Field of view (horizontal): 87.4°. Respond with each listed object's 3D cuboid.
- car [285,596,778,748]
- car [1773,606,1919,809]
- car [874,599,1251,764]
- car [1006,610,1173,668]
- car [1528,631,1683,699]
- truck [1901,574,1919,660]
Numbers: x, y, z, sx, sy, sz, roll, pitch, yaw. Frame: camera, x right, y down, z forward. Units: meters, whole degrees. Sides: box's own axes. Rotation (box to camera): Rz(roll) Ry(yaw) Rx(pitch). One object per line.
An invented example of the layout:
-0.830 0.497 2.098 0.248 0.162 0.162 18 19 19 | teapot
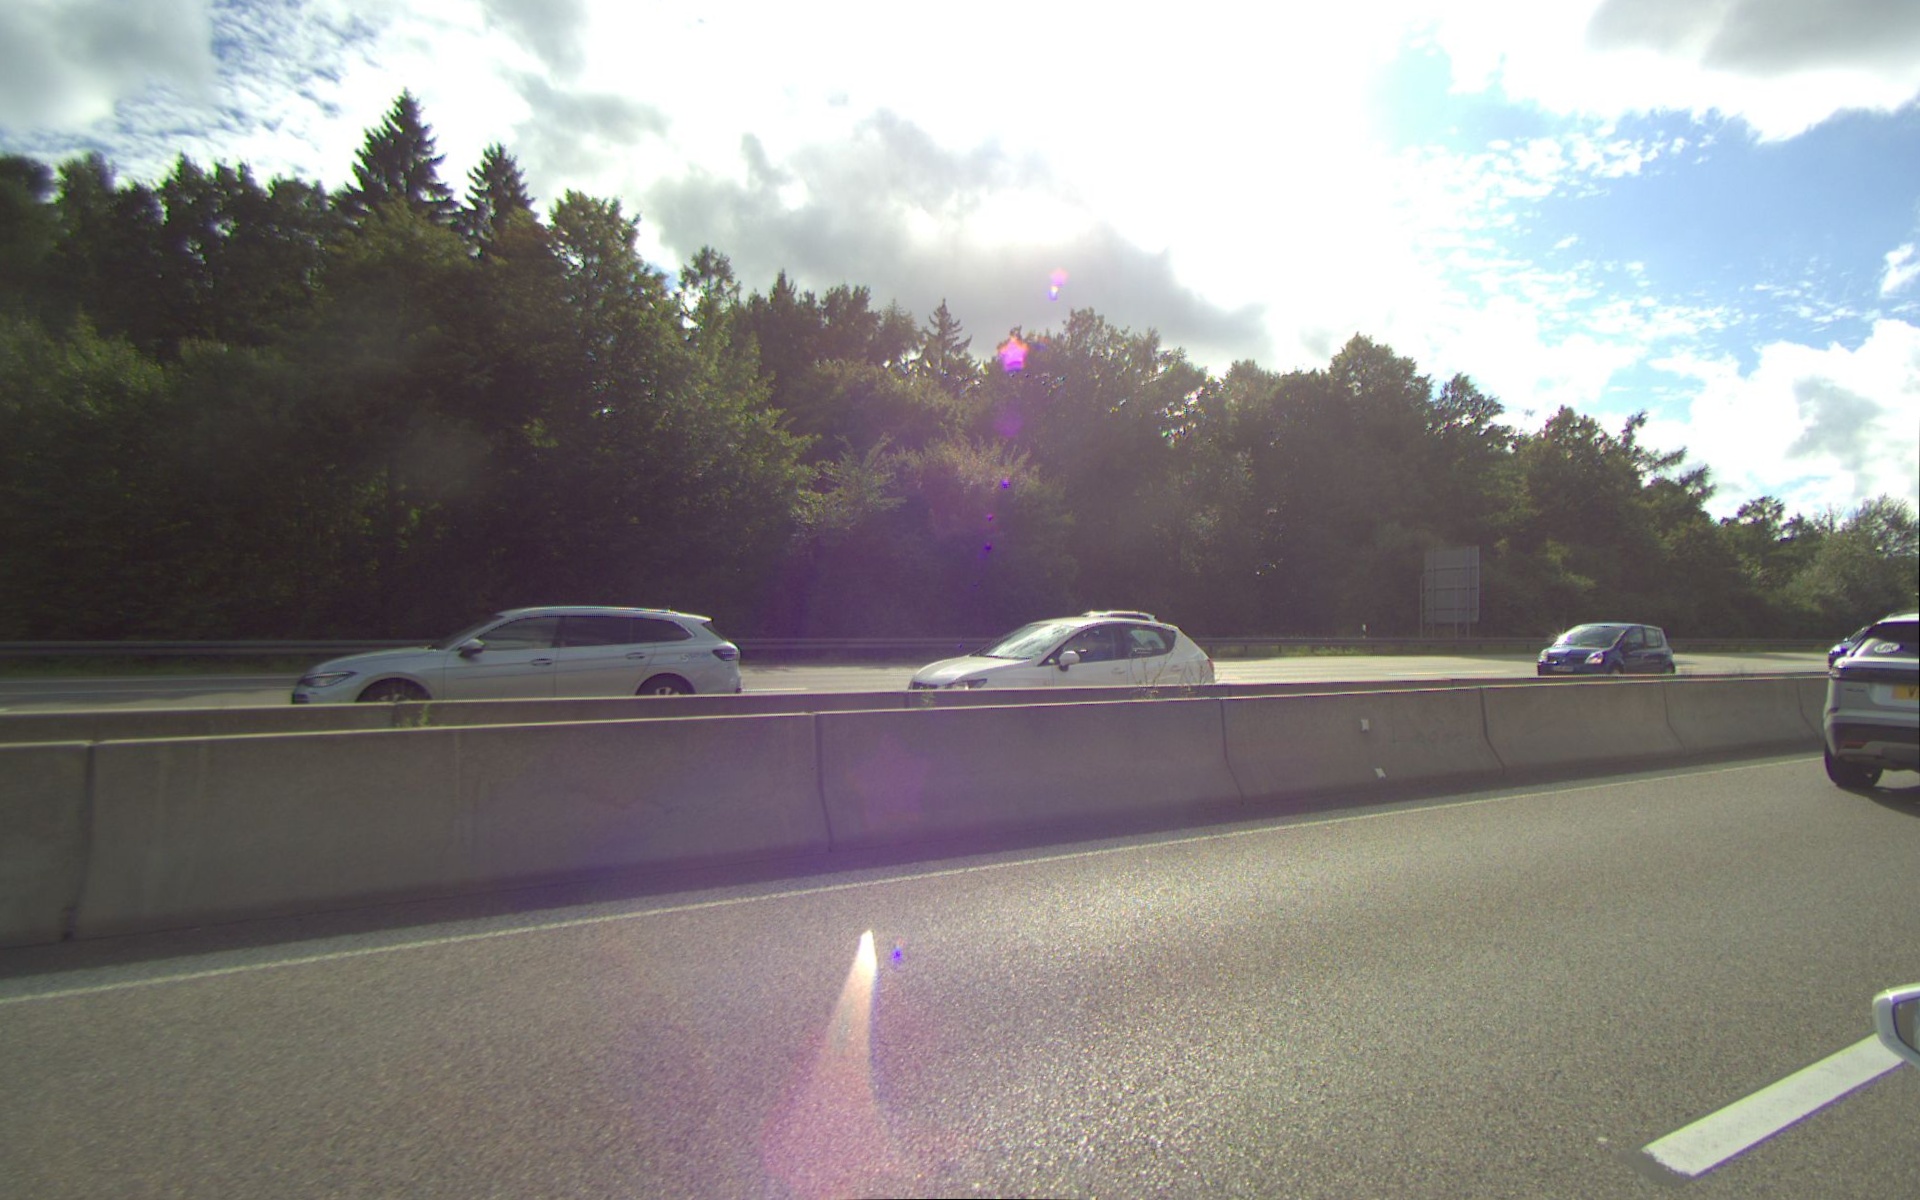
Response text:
-4.940 0.774 12.047 5.071 1.504 1.984 1 -1 -30 | car
10.062 0.933 9.485 5.239 1.638 1.996 1 0 -31 | car
1.274 0.882 11.997 4.192 1.662 1.904 1 -2 -31 | car
4.018 1.185 30.921 4.819 1.658 2.161 1 -2 -31 | car
15.745 1.529 24.451 3.954 1.532 1.621 1 -1 -31 | car
47.438 0.862 47.307 6.367 3.998 2.775 1 -1 -29 | truck
